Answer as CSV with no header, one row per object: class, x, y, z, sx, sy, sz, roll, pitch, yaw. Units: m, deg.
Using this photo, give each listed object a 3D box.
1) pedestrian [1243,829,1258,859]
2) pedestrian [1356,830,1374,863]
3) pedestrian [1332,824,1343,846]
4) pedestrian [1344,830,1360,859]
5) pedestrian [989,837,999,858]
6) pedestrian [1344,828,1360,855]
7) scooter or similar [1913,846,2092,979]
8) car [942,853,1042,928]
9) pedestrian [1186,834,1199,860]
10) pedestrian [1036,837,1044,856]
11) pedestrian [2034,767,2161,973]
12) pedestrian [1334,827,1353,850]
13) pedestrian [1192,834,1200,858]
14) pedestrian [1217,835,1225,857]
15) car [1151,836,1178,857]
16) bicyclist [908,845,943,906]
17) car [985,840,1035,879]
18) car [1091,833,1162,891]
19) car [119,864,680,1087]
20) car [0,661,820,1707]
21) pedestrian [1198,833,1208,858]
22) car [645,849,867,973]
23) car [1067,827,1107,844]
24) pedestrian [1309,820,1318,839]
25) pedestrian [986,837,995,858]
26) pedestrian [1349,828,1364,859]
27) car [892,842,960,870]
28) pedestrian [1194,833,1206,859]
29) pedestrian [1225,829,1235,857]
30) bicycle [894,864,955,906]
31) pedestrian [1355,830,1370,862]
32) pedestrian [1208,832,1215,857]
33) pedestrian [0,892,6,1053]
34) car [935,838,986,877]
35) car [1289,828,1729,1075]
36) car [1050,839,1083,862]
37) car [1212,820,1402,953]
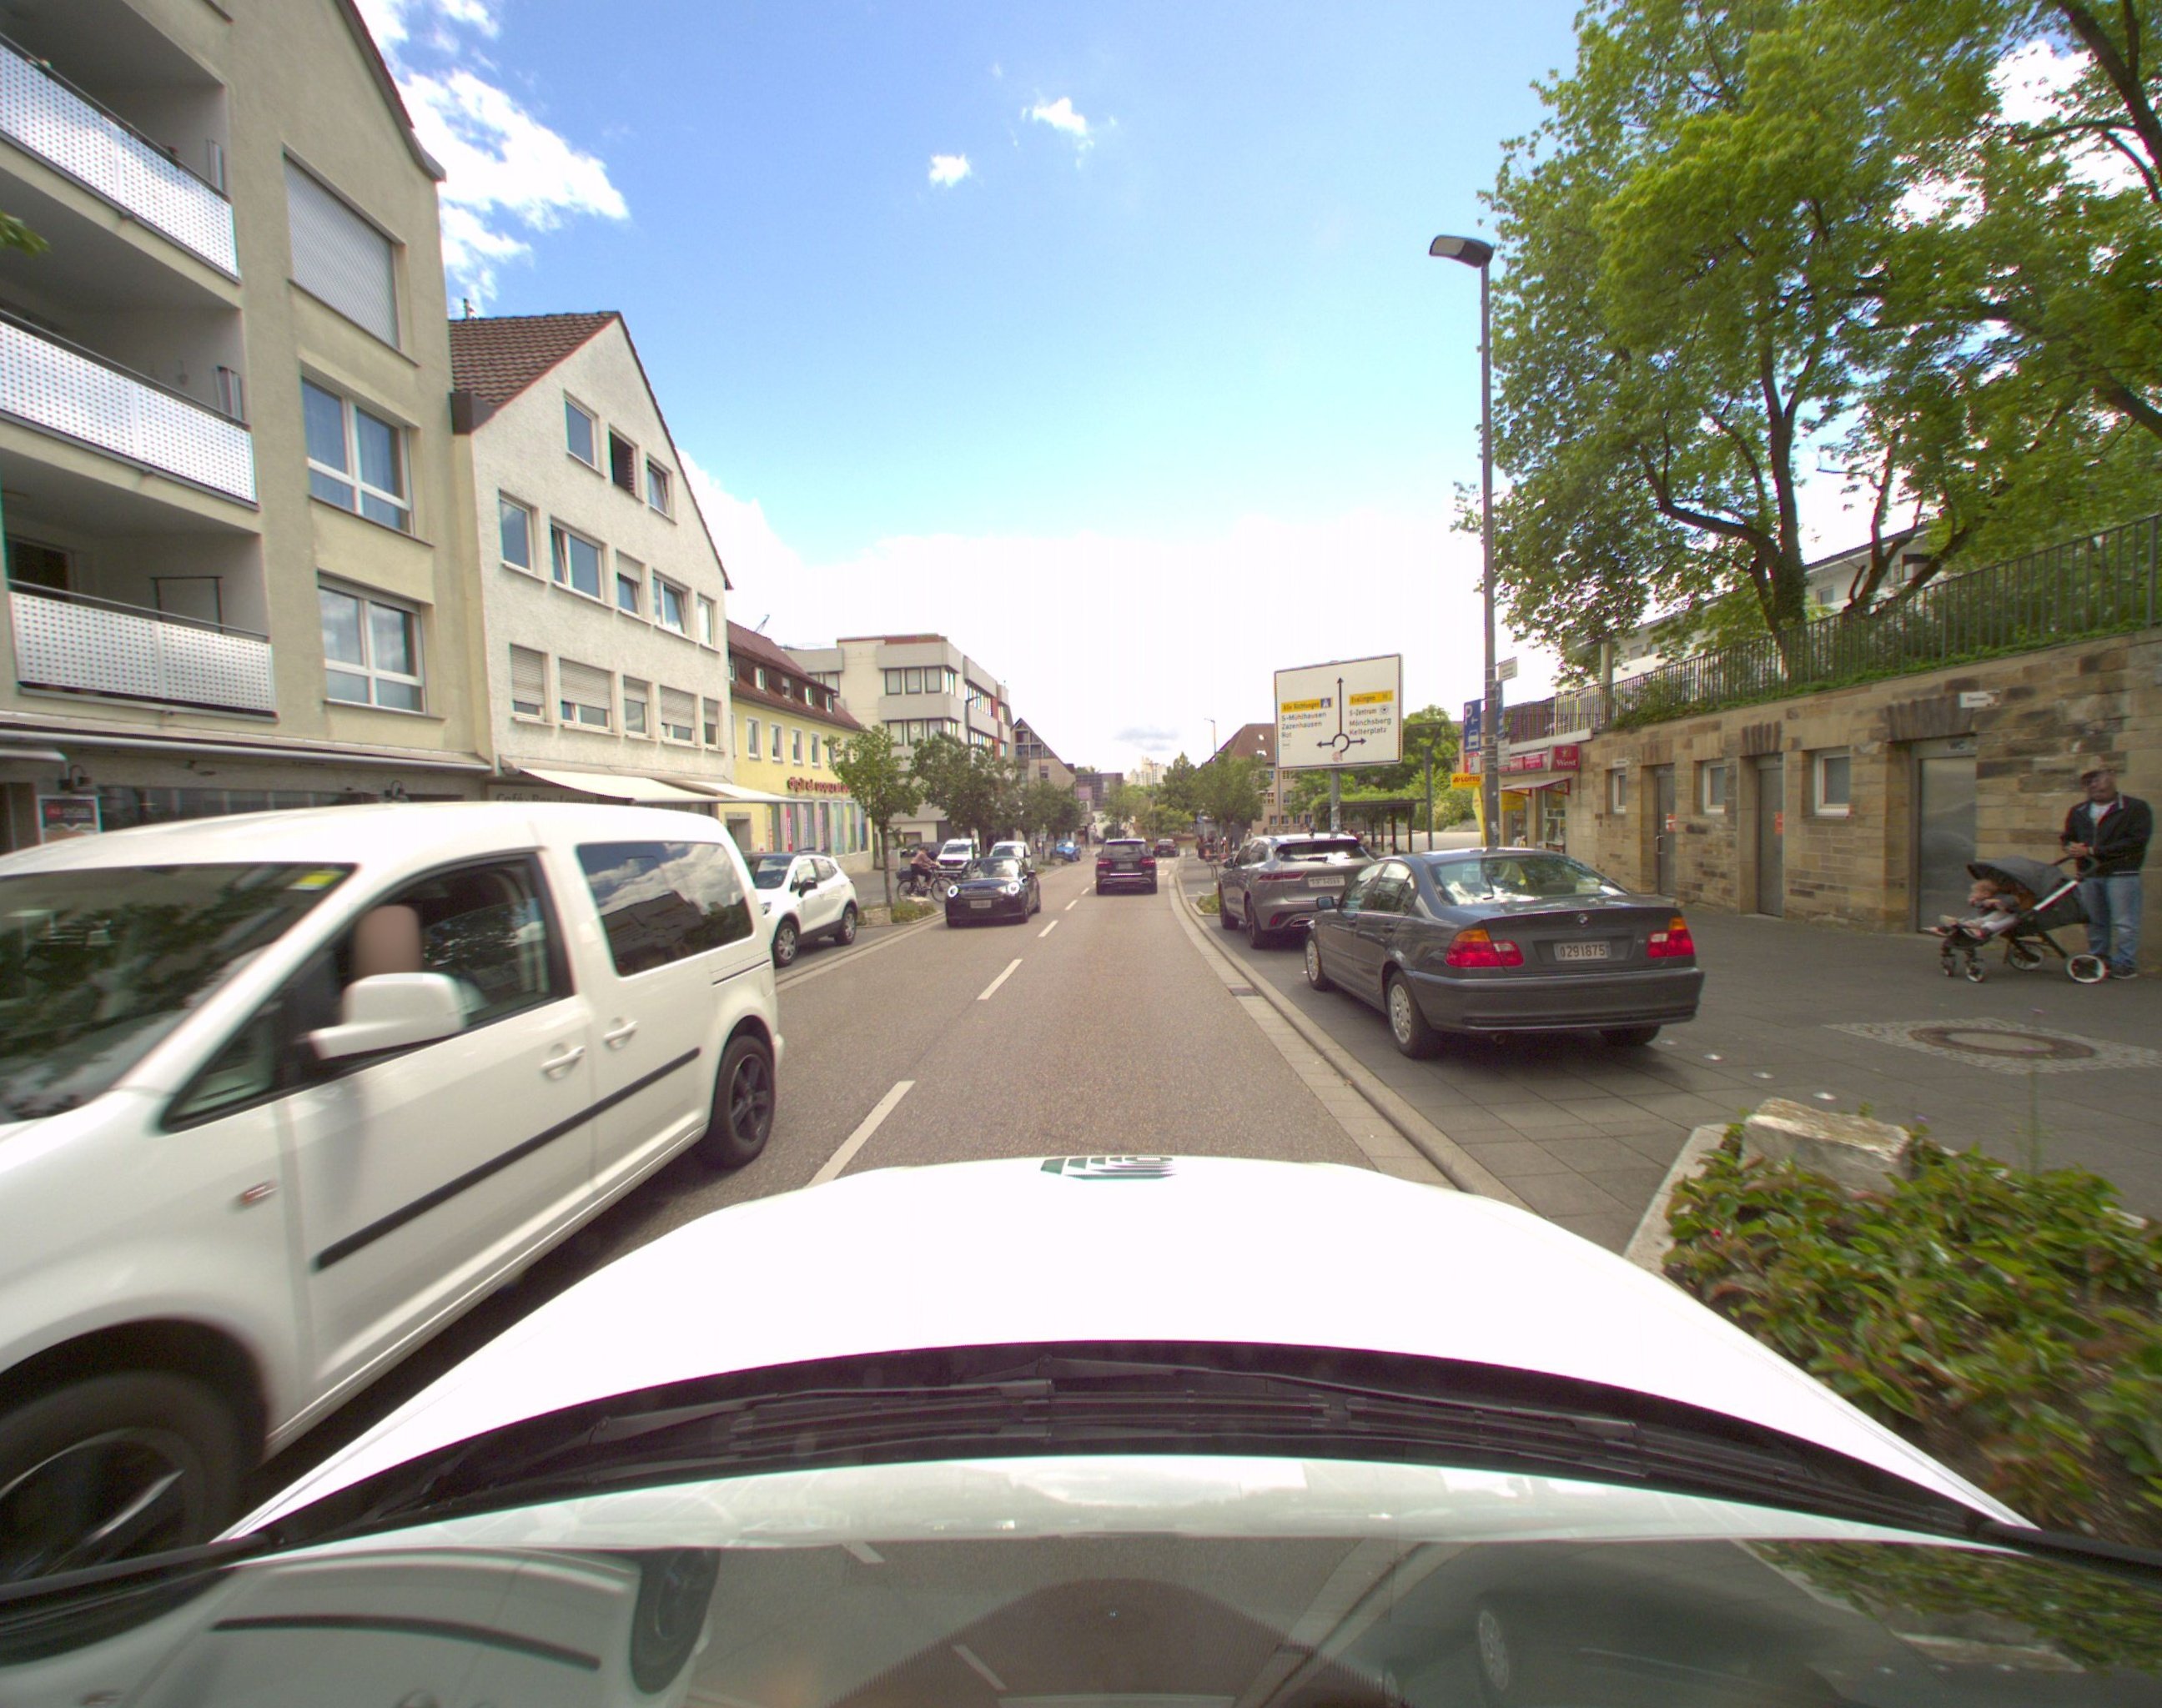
pedestrian,9.655,-0.552,46.354,0.679,1.682,0.717,-2,1,17
pedestrian,11.954,-0.331,34.279,0.612,1.320,0.587,-2,3,9
pedestrian,15.353,-1.126,48.751,0.563,1.323,0.548,-1,1,16
pedestrian,12.095,-0.415,36.356,0.564,1.261,0.543,-2,3,10
pedestrian,-6.801,-0.500,63.531,0.587,1.566,0.640,-3,1,-21
pedestrian,13.580,-0.616,40.849,0.620,1.307,0.548,-3,1,10
scooter or similar,7.883,0.489,7.003,0.806,1.072,0.562,-3,-1,12
car,-1.872,0.736,18.174,1.600,1.388,3.631,-3,0,3
pedestrian,6.929,-0.447,50.573,0.489,1.549,0.537,-4,1,-40
pedestrian,-3.558,-0.673,70.969,0.583,1.588,0.640,-1,1,8
pedestrian,8.540,0.133,6.809,0.469,1.646,0.508,-3,-1,13
pedestrian,14.466,-0.849,44.822,0.761,1.269,0.680,0,2,44
pedestrian,7.906,-0.580,55.886,0.384,1.619,0.471,-4,1,18
pedestrian,8.597,-0.495,50.006,0.387,1.306,0.356,-4,1,8
car,6.805,-0.607,65.840,2.042,1.588,4.382,1,2,7
bicyclist,-4.520,0.621,23.623,0.781,1.694,0.505,-4,1,-33
car,-3.199,0.189,37.466,1.649,1.672,4.355,-1,1,3
car,1.401,0.256,26.709,2.021,1.727,4.431,-1,-1,-1
car,-5.819,0.863,7.908,1.835,1.451,4.509,0,0,-4
car,-2.569,0.632,2.768,1.739,1.802,4.214,-4,0,2
pedestrian,7.876,-0.528,52.571,0.496,1.566,0.499,-3,1,12
car,-4.928,0.759,13.041,1.658,1.646,4.138,0,1,4
car,0.968,-2.963,132.296,6.295,2.560,2.195,0,-1,-15
pedestrian,18.373,-1.954,64.351,0.501,1.508,0.454,-2,2,-2
pedestrian,-7.140,-0.514,64.197,0.507,1.566,0.588,-3,1,7
pedestrian,12.051,-0.472,35.611,0.495,1.320,0.526,-2,3,11
car,-9.048,0.088,47.636,3.616,1.558,1.668,-1,1,-1
pedestrian,7.317,-0.486,50.057,0.508,1.549,0.490,-2,1,33
pedestrian,9.145,-0.669,49.914,0.508,1.680,0.577,-3,1,6
bicycle,-4.522,0.884,23.580,1.661,1.087,0.409,-4,1,-34
pedestrian,12.074,-0.359,34.943,0.492,1.320,0.577,-2,3,10
pedestrian,8.428,-0.610,52.551,0.391,1.566,0.353,-3,1,11
pedestrian,-8.981,0.970,6.400,0.419,1.299,0.454,-1,1,1
car,-5.869,0.106,40.266,1.750,1.813,4.478,0,1,1
car,3.095,0.616,7.038,1.674,1.417,4.375,-2,-1,3
car,-1.033,-0.329,60.763,1.684,1.599,4.343,1,2,9
car,3.417,0.410,13.268,1.921,1.724,4.576,-2,1,2
